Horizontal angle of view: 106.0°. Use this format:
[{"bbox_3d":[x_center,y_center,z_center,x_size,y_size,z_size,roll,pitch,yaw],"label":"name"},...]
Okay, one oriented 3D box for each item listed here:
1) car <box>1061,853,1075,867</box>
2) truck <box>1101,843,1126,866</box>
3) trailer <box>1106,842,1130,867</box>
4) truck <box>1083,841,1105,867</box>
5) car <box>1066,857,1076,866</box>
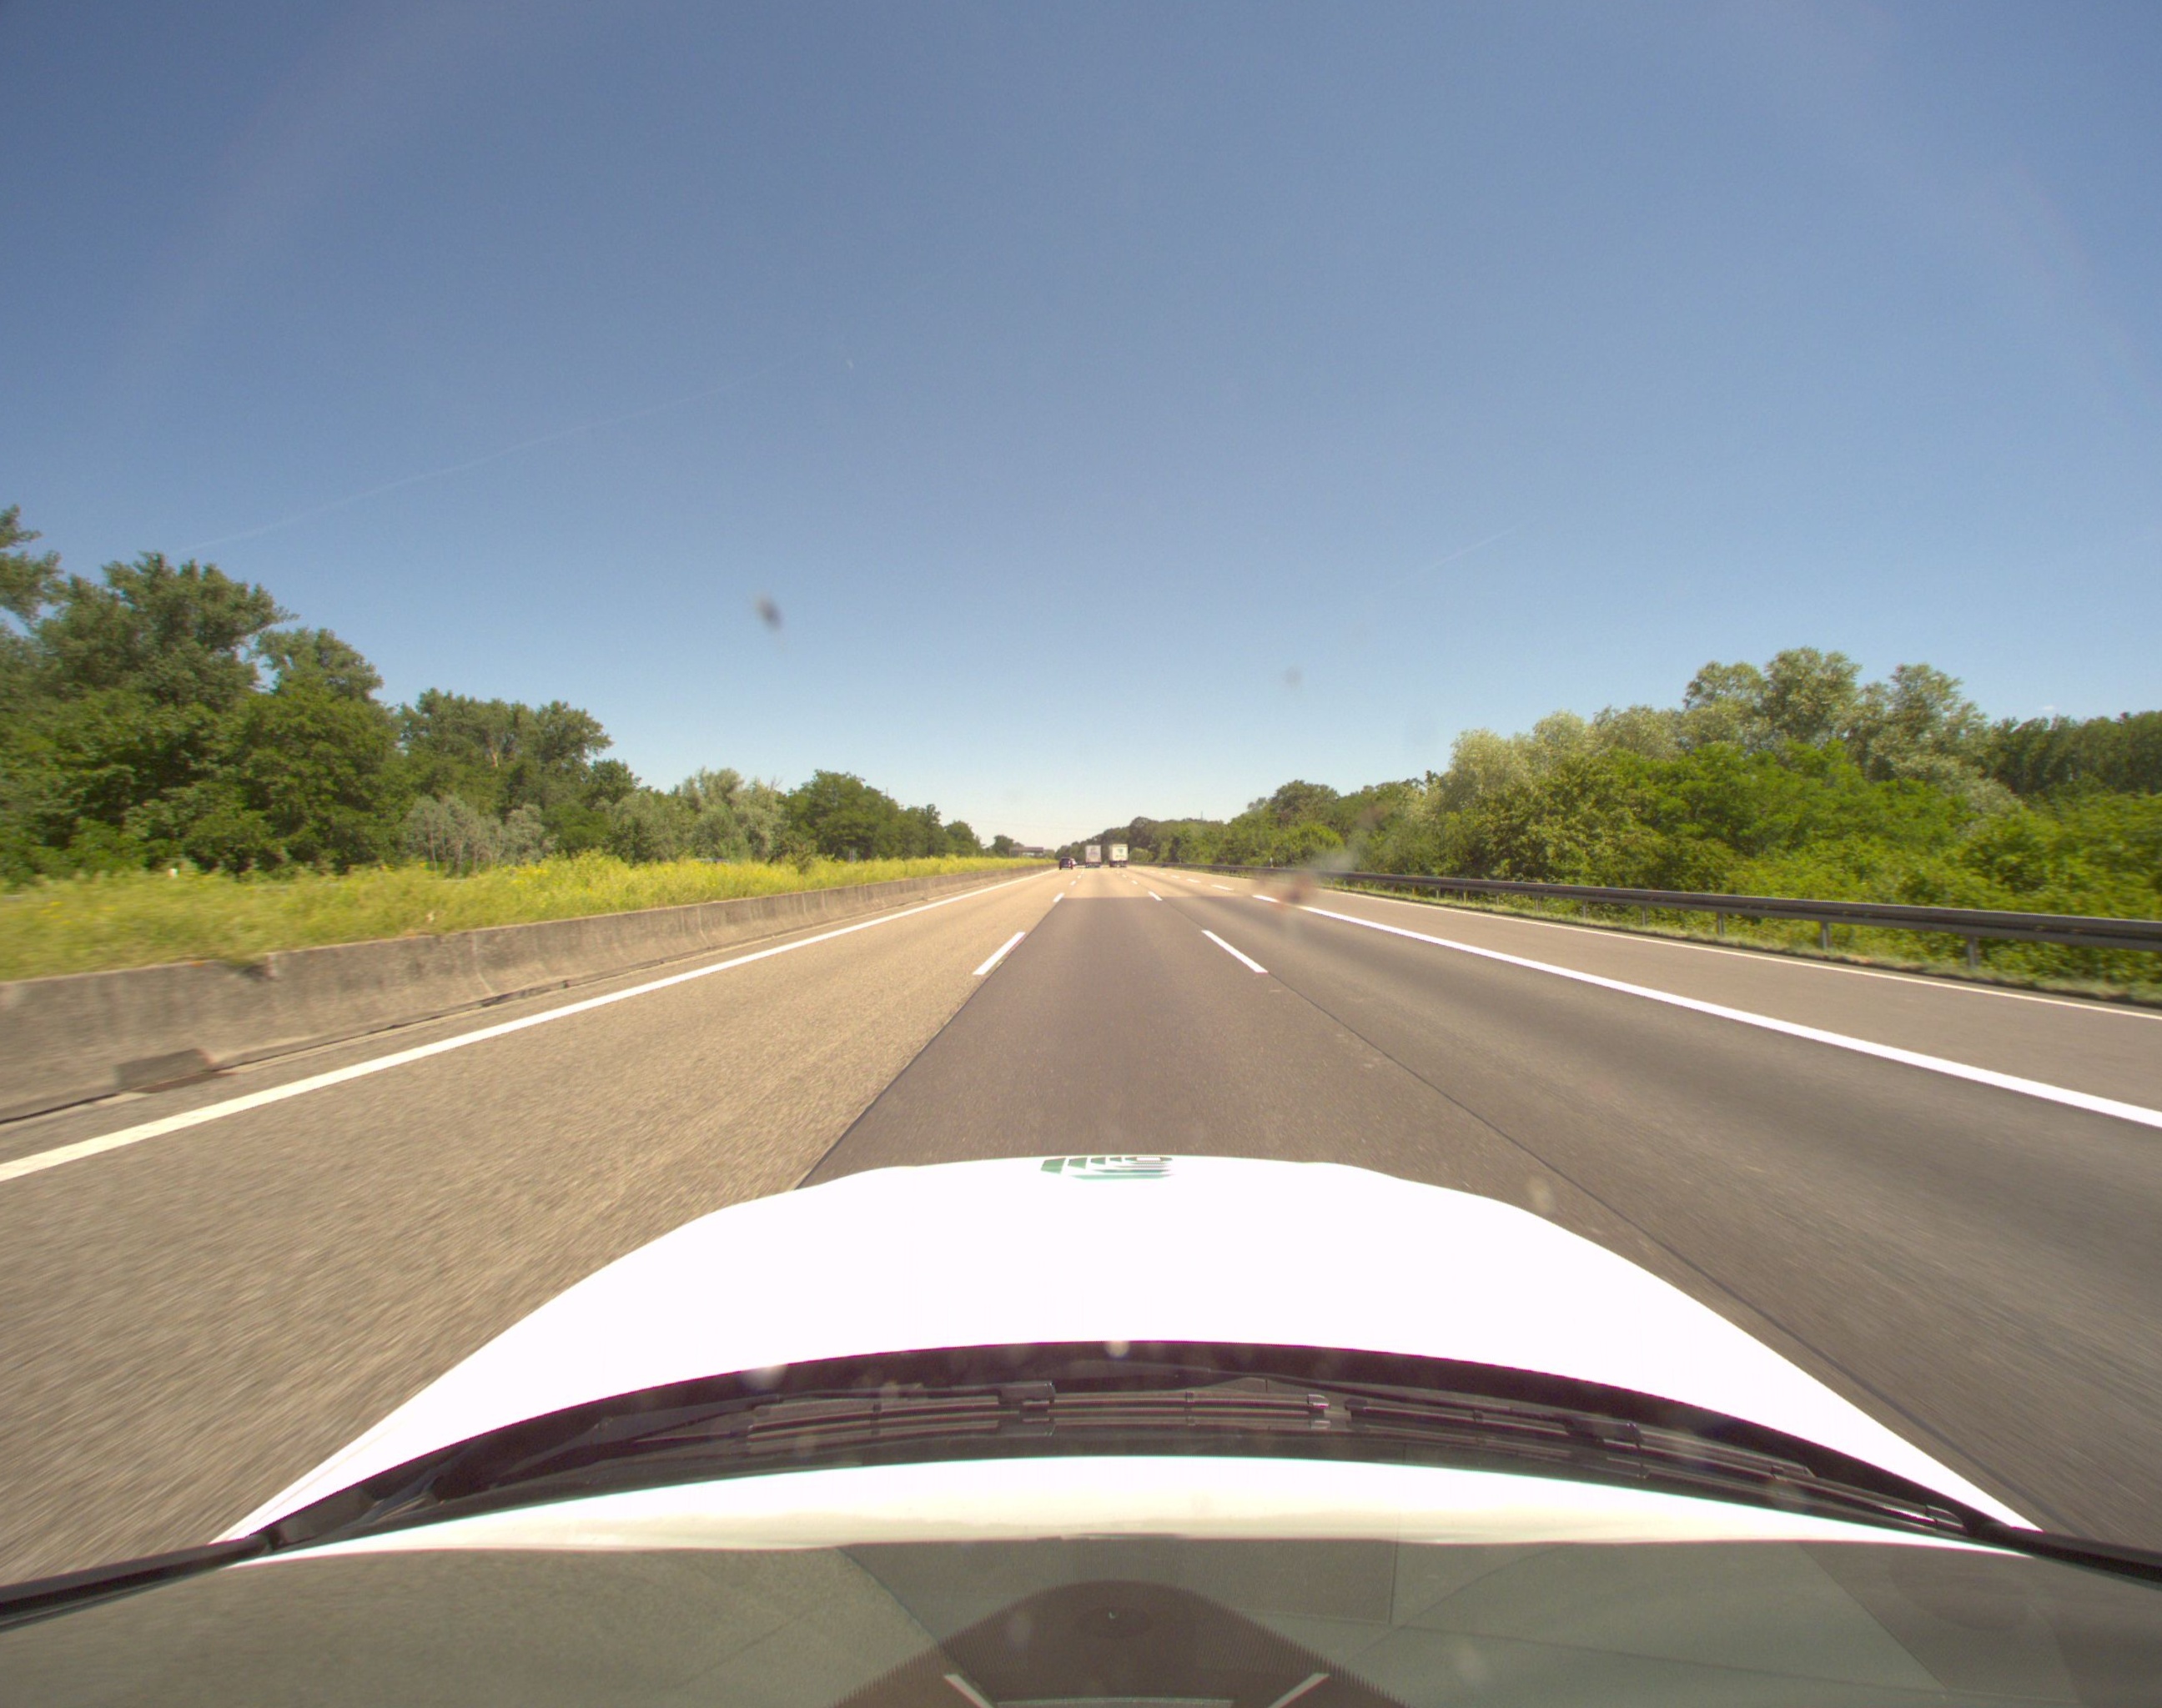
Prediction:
[{"bbox_3d":[-1.829,0.840,116.972,1.987,1.874,4.000,0,0,0],"label":"car"},{"bbox_3d":[5.874,0.016,147.565,3.320,4.053,10.936,0,0,-4],"label":"truck"},{"bbox_3d":[6.269,0.003,139.726,3.360,4.142,9.081,0,0,-3],"label":"trailer"},{"bbox_3d":[2.185,-0.008,138.711,3.221,4.202,8.458,0,0,-2],"label":"truck"},{"bbox_3d":[-2.132,1.529,171.704,1.989,1.874,3.995,1,0,-3],"label":"car"}]
